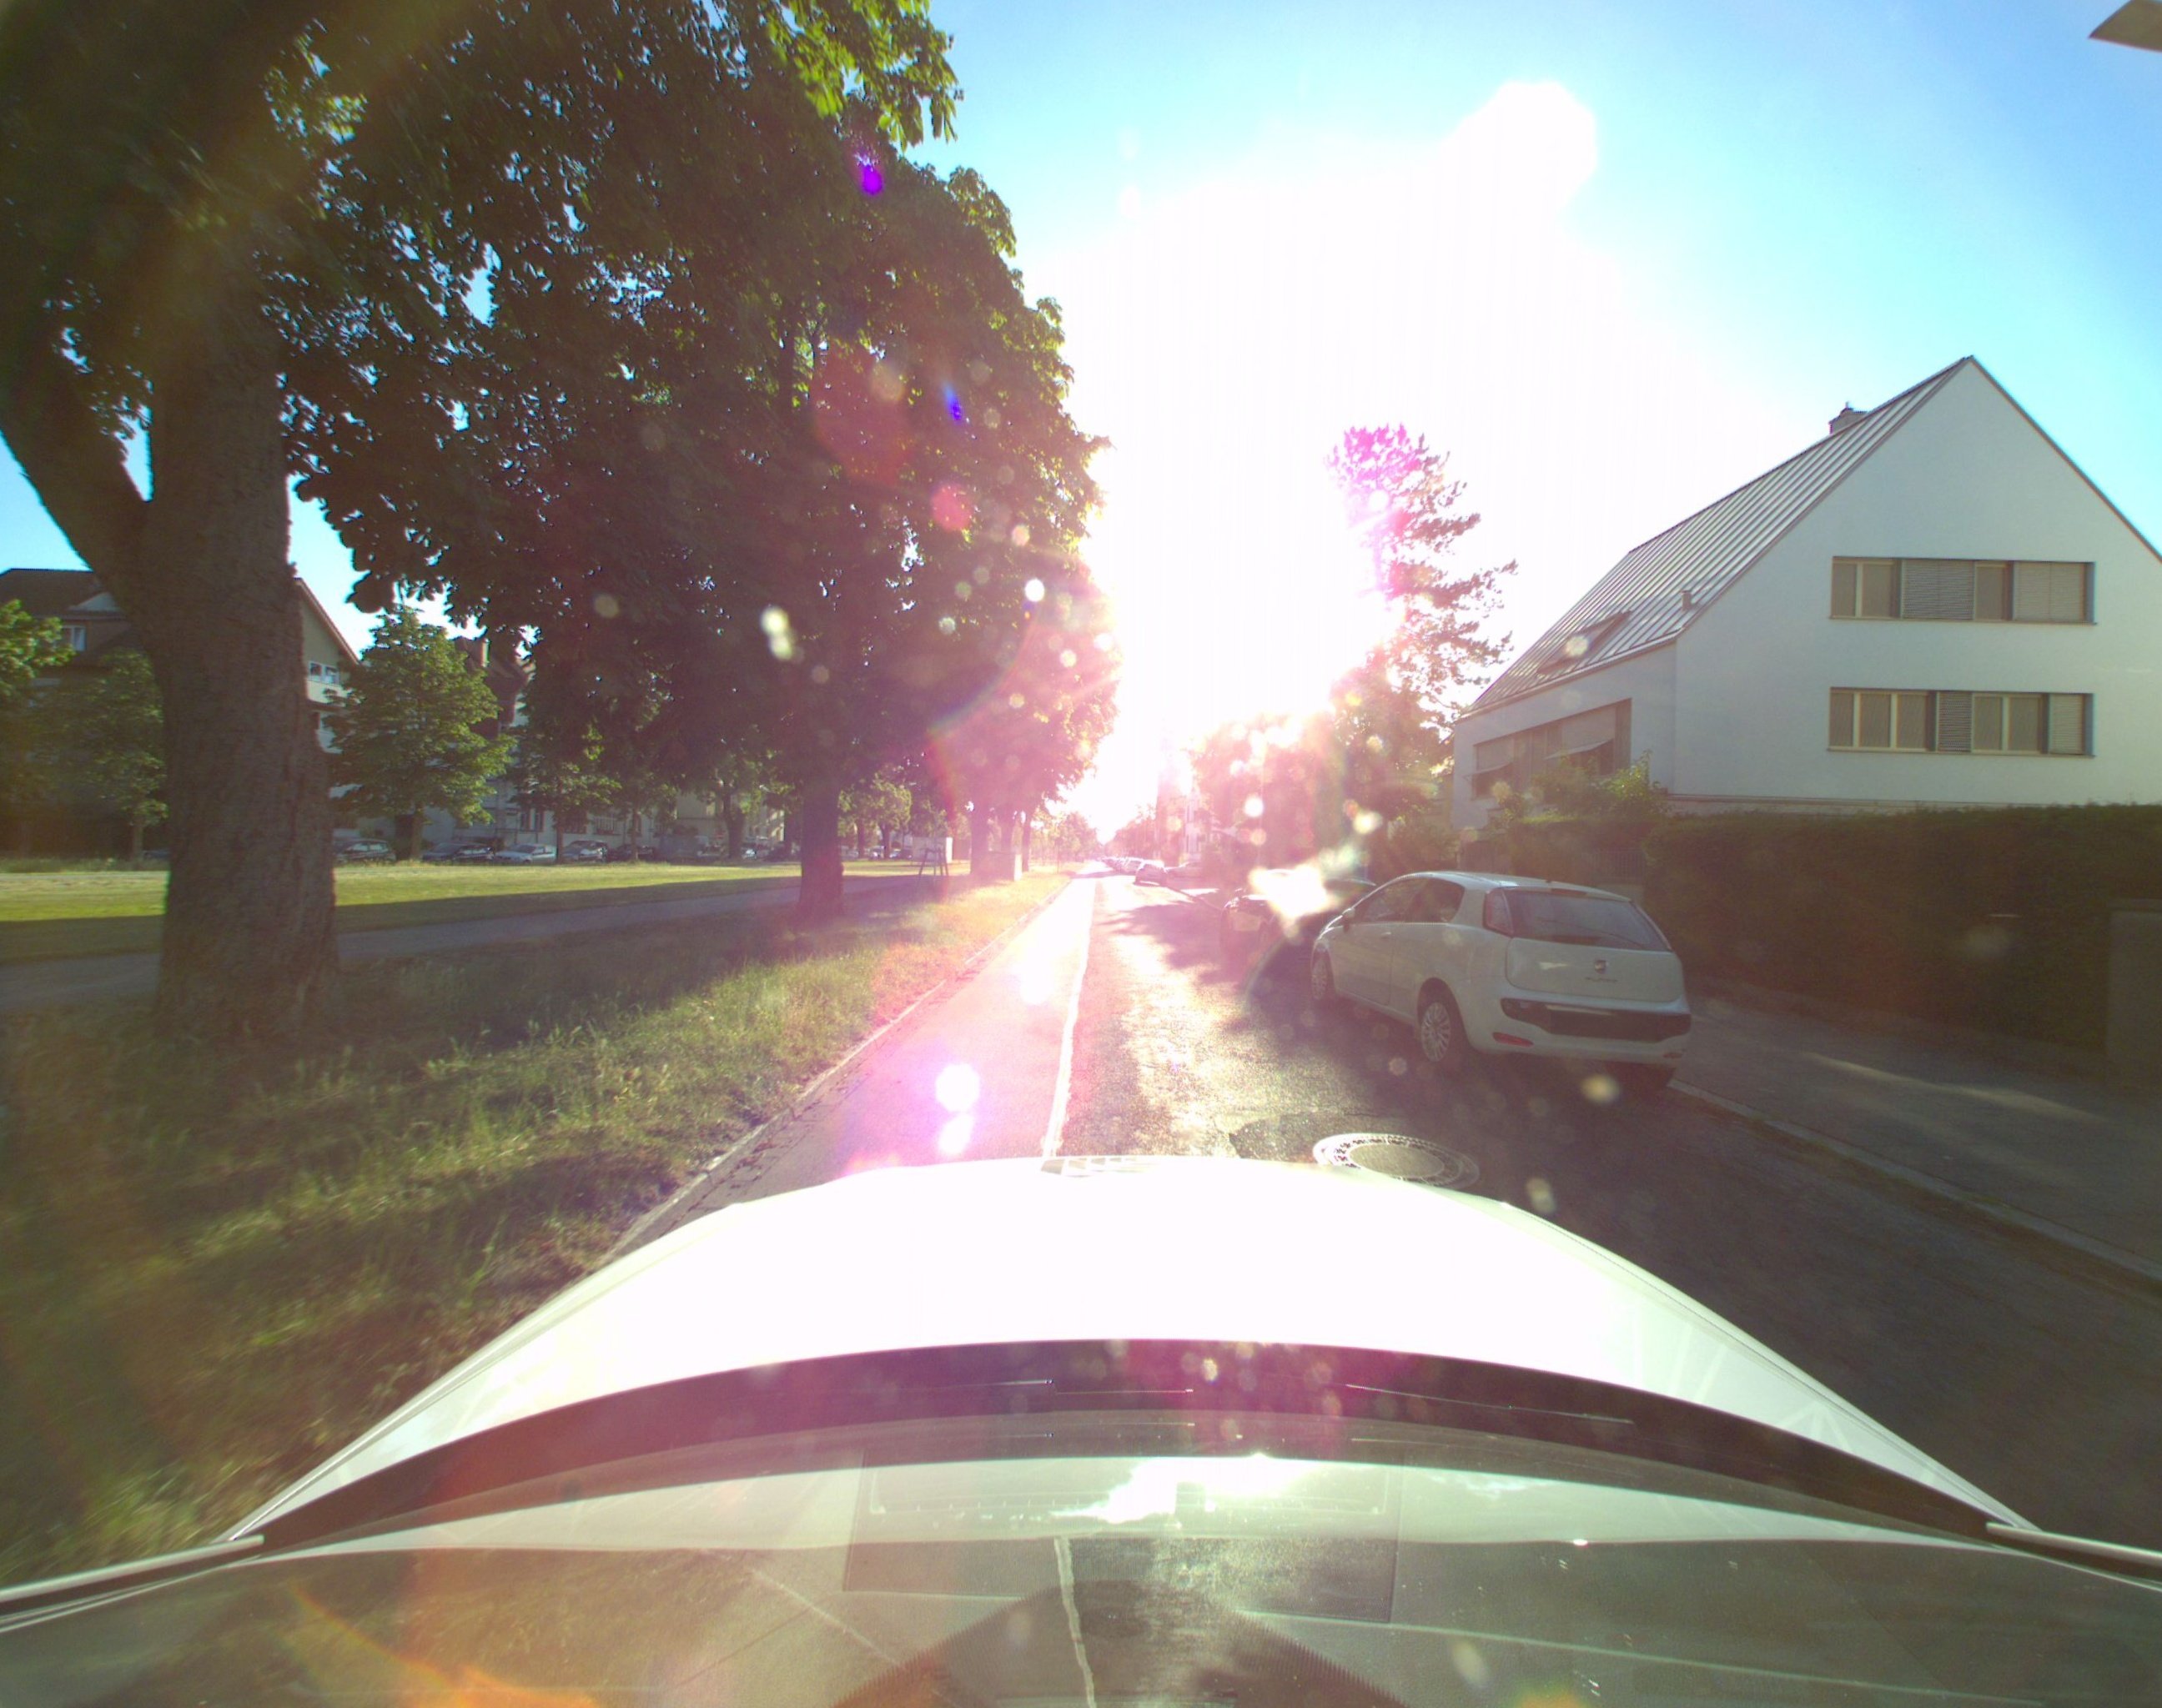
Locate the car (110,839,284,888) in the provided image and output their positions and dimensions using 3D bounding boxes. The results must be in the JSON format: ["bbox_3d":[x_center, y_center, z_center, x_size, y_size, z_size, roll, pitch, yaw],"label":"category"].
[{"bbox_3d":[-33.216,0.353,30.793,1.985,1.684,4.004,2,-1,4],"label":"car"}]

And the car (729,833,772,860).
[{"bbox_3d":[-37.706,-0.763,93.073,2.429,2.922,5.819,-1,-1,1],"label":"car"}]

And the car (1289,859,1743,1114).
[{"bbox_3d":[3.316,0.869,7.196,1.687,1.483,3.925,5,0,-3],"label":"car"}]

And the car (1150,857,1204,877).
[{"bbox_3d":[7.399,0.997,63.085,3.974,1.420,1.767,2,2,0],"label":"car"}]

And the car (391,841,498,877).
[{"bbox_3d":[-32.712,0.257,42.052,1.986,1.721,4.257,2,-1,2],"label":"car"}]

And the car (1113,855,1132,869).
[{"bbox_3d":[4.463,0.853,87.621,1.755,1.420,3.999,2,0,0],"label":"car"}]

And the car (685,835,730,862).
[{"bbox_3d":[-37.742,-0.531,82.524,1.986,2.673,5.188,1,0,2],"label":"car"}]

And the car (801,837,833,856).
[{"bbox_3d":[-31.604,-0.867,97.729,1.986,2.250,5.188,1,0,1],"label":"car"}]

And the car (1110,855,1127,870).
[{"bbox_3d":[4.296,0.939,93.211,1.753,1.605,4.358,1,0,0],"label":"car"}]

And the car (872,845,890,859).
[{"bbox_3d":[-36.564,-0.295,148.961,1.986,2.409,4.364,-1,-1,2],"label":"car"}]

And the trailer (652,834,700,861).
[{"bbox_3d":[-37.870,-0.573,76.294,1.986,2.428,4.725,1,0,2],"label":"trailer"}]

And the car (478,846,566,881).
[{"bbox_3d":[-32.665,0.555,47.734,1.986,1.860,4.257,2,-1,2],"label":"car"}]

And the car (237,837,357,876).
[{"bbox_3d":[-38.518,0.139,40.150,1.988,1.783,3.998,2,-1,-1],"label":"car"}]

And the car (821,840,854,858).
[{"bbox_3d":[-31.451,-0.656,105.356,2.525,2.236,5.461,1,0,2],"label":"car"}]

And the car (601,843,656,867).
[{"bbox_3d":[-38.312,0.085,69.089,1.987,1.952,4.750,1,0,0],"label":"car"}]

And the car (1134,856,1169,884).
[{"bbox_3d":[4.252,0.926,49.468,1.750,1.420,4.073,7,0,2],"label":"car"}]

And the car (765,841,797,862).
[{"bbox_3d":[-31.897,-0.268,86.767,1.678,2.176,4.316,1,0,2],"label":"car"}]

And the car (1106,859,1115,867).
[{"bbox_3d":[6.339,1.913,174.616,1.973,1.683,4.002,1,0,2],"label":"car"}]

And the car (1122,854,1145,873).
[{"bbox_3d":[4.657,0.827,72.809,1.753,1.605,4.358,1,0,0],"label":"car"}]

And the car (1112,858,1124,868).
[{"bbox_3d":[6.348,1.556,139.911,1.986,1.629,4.002,1,0,2],"label":"car"}]

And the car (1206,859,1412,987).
[{"bbox_3d":[3.154,0.863,12.204,1.744,1.477,4.285,3,0,-2],"label":"car"}]

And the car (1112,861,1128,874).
[{"bbox_3d":[4.954,1.675,103.289,1.755,1.521,3.999,3,0,0],"label":"car"}]

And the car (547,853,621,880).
[{"bbox_3d":[-32.178,0.798,52.910,1.986,1.649,4.257,2,-1,2],"label":"car"}]

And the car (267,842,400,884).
[{"bbox_3d":[-32.934,0.409,36.050,1.985,1.684,4.004,2,-1,4],"label":"car"}]

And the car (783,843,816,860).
[{"bbox_3d":[-31.797,-0.260,92.200,1.986,1.793,4.487,1,0,2],"label":"car"}]

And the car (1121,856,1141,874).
[{"bbox_3d":[4.830,1.013,78.941,1.679,1.651,4.100,2,0,1],"label":"car"}]
